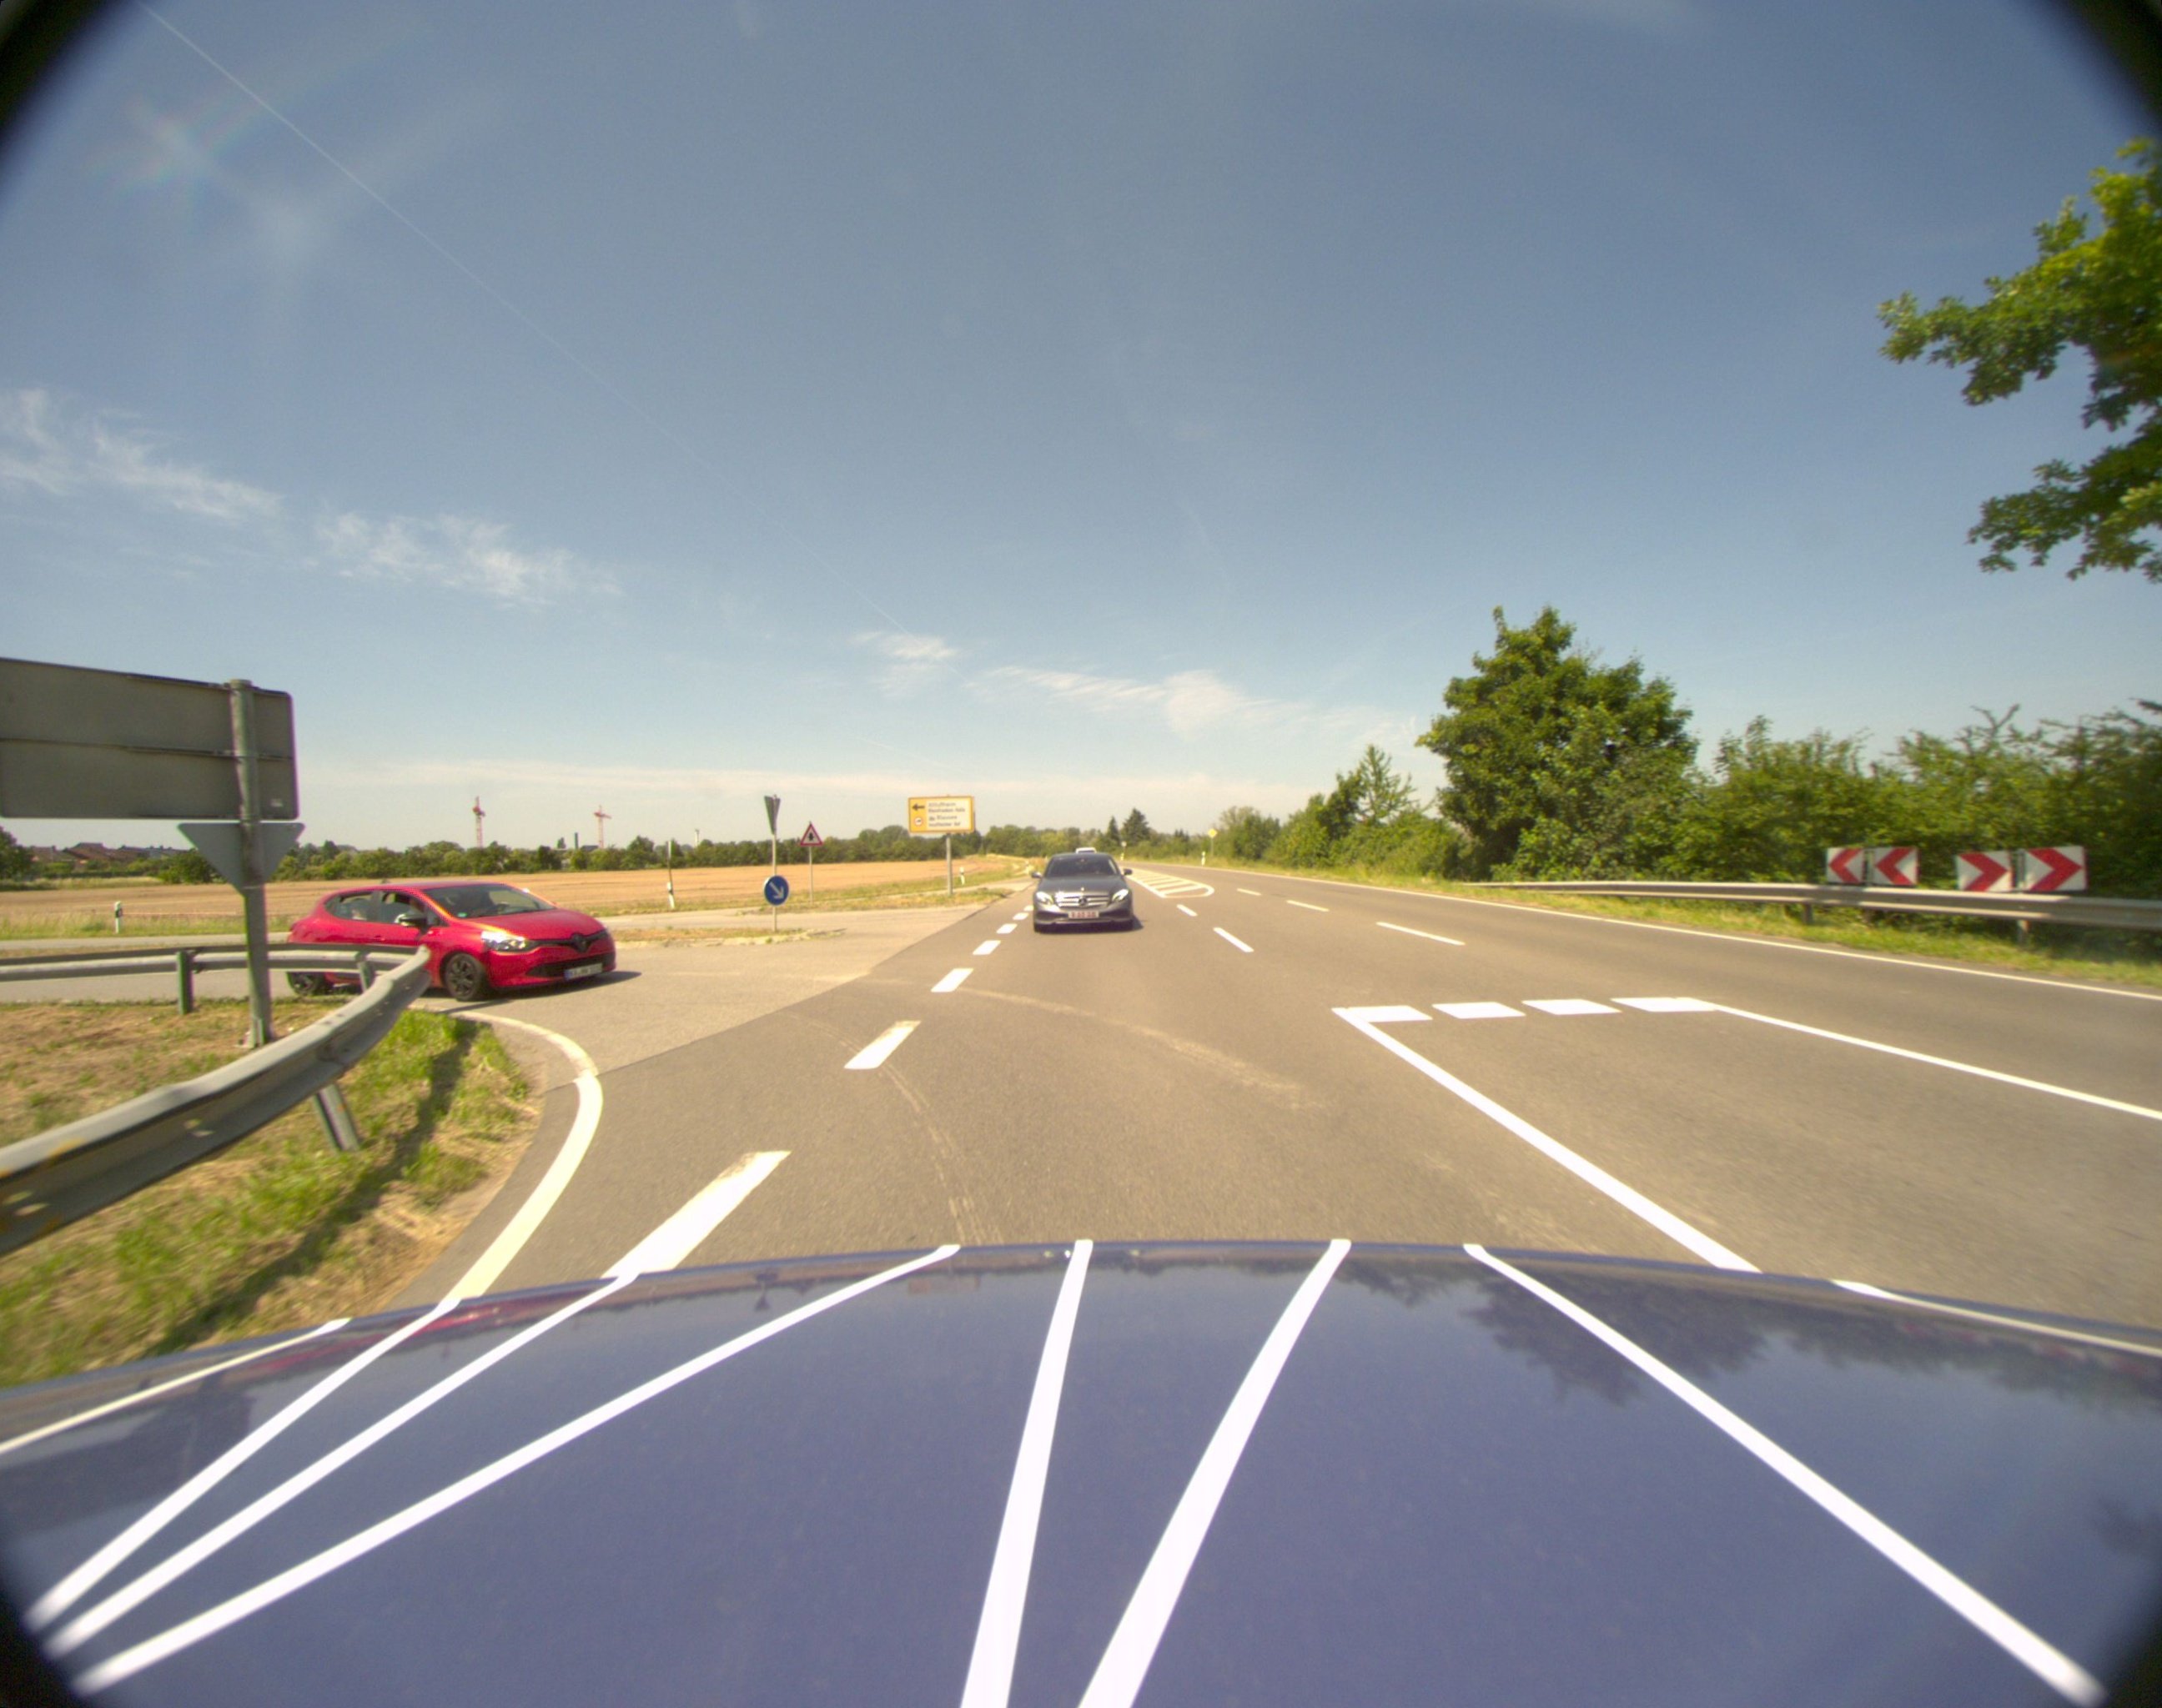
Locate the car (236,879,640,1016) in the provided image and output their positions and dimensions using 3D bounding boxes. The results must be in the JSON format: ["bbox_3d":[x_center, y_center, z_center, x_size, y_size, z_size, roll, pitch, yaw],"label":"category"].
[{"bbox_3d":[-8.142,1.126,9.744,4.159,1.410,1.781,-2,2,14],"label":"car"}]

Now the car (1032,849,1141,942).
[{"bbox_3d":[0.230,0.723,15.565,1.831,1.540,4.499,-3,0,4],"label":"car"}]

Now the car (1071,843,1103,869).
[{"bbox_3d":[0.435,0.162,64.738,2.180,2.002,5.023,-4,1,-4],"label":"car"}]
